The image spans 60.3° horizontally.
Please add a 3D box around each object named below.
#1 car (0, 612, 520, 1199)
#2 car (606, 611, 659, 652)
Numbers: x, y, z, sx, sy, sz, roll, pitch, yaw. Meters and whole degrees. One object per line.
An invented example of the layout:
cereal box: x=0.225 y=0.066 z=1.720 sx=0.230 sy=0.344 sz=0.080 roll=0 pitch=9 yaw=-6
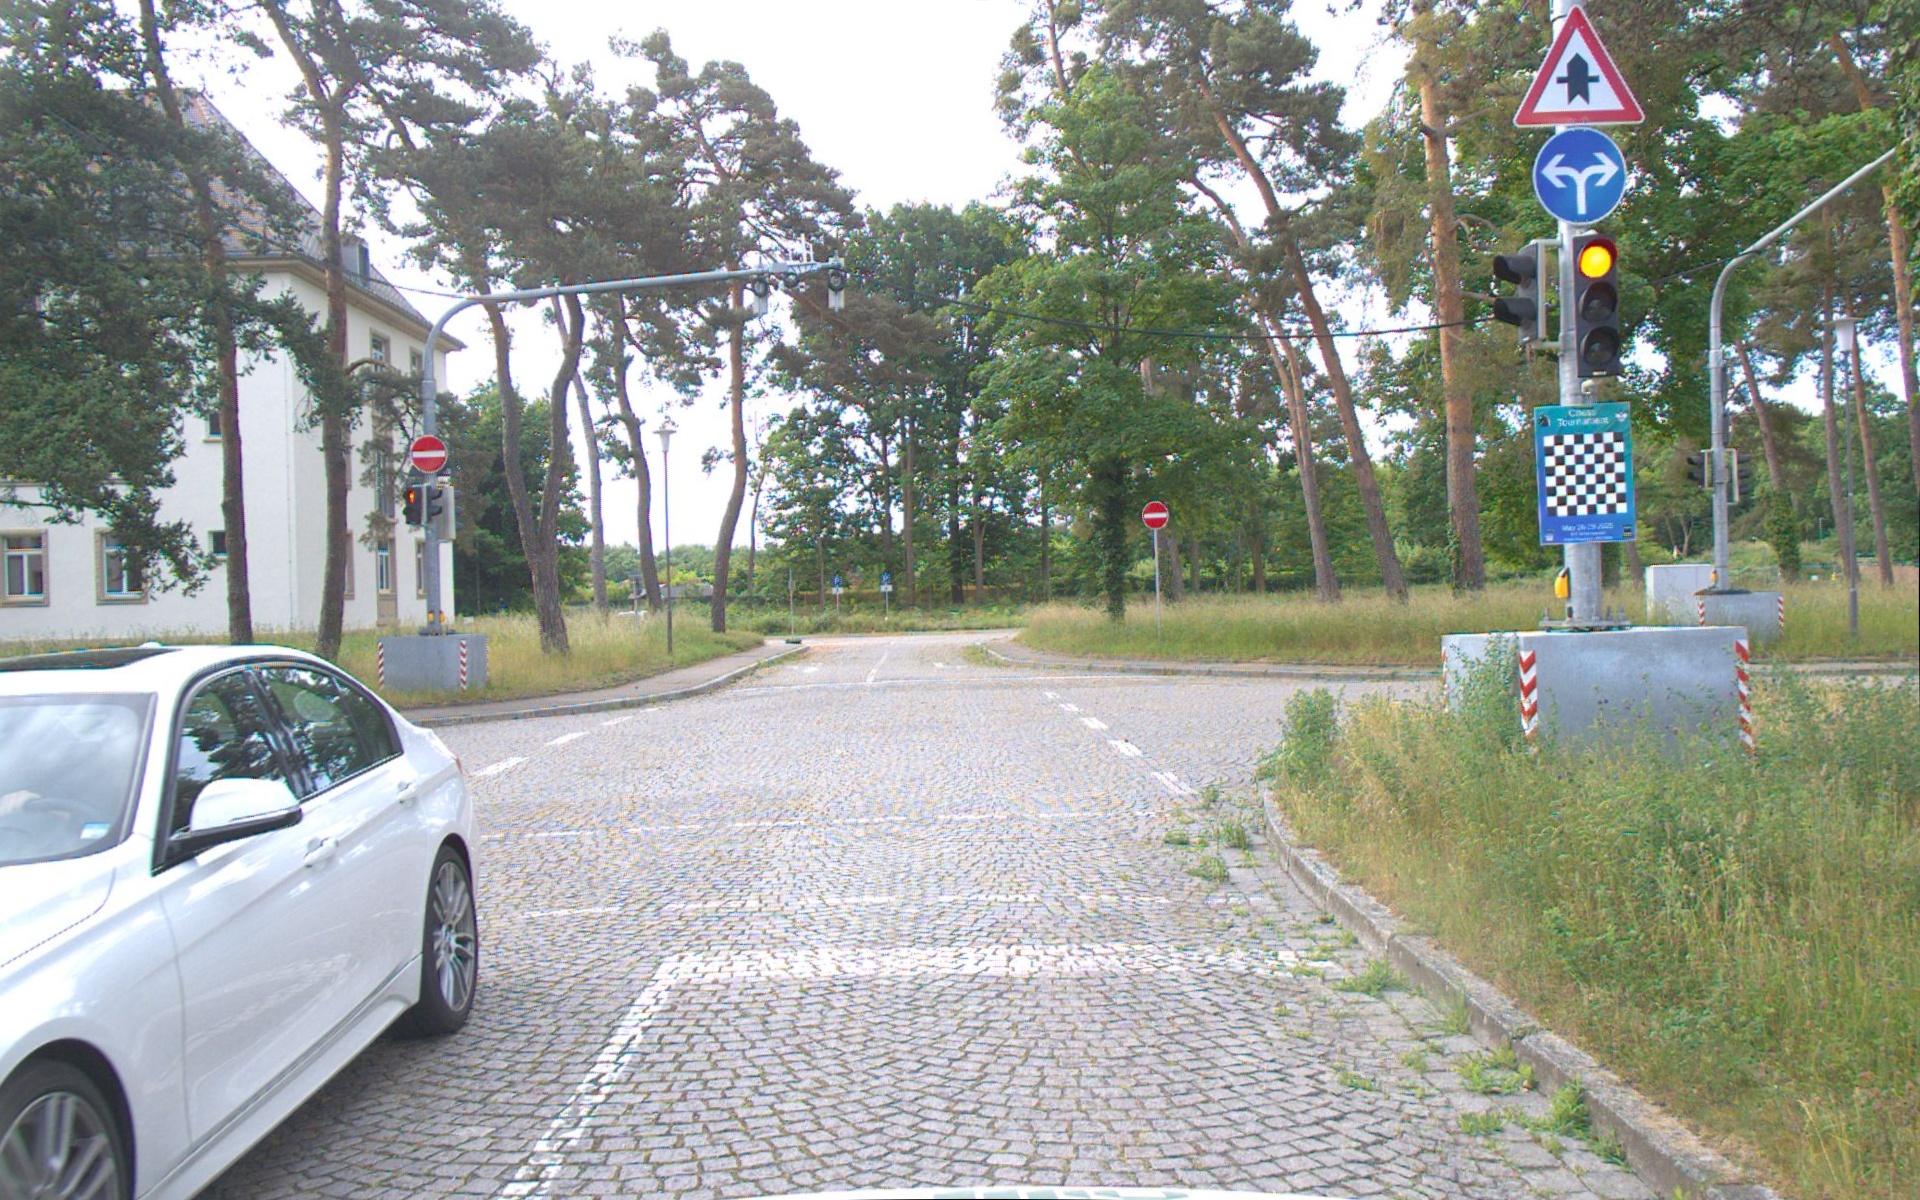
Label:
car: x=-2.591 y=0.853 z=4.435 sx=1.738 sy=1.463 sz=4.216 roll=-5 pitch=0 yaw=-2
car: x=-15.464 y=1.465 z=78.211 sx=1.954 sy=1.878 sz=3.996 roll=0 pitch=0 yaw=-4
